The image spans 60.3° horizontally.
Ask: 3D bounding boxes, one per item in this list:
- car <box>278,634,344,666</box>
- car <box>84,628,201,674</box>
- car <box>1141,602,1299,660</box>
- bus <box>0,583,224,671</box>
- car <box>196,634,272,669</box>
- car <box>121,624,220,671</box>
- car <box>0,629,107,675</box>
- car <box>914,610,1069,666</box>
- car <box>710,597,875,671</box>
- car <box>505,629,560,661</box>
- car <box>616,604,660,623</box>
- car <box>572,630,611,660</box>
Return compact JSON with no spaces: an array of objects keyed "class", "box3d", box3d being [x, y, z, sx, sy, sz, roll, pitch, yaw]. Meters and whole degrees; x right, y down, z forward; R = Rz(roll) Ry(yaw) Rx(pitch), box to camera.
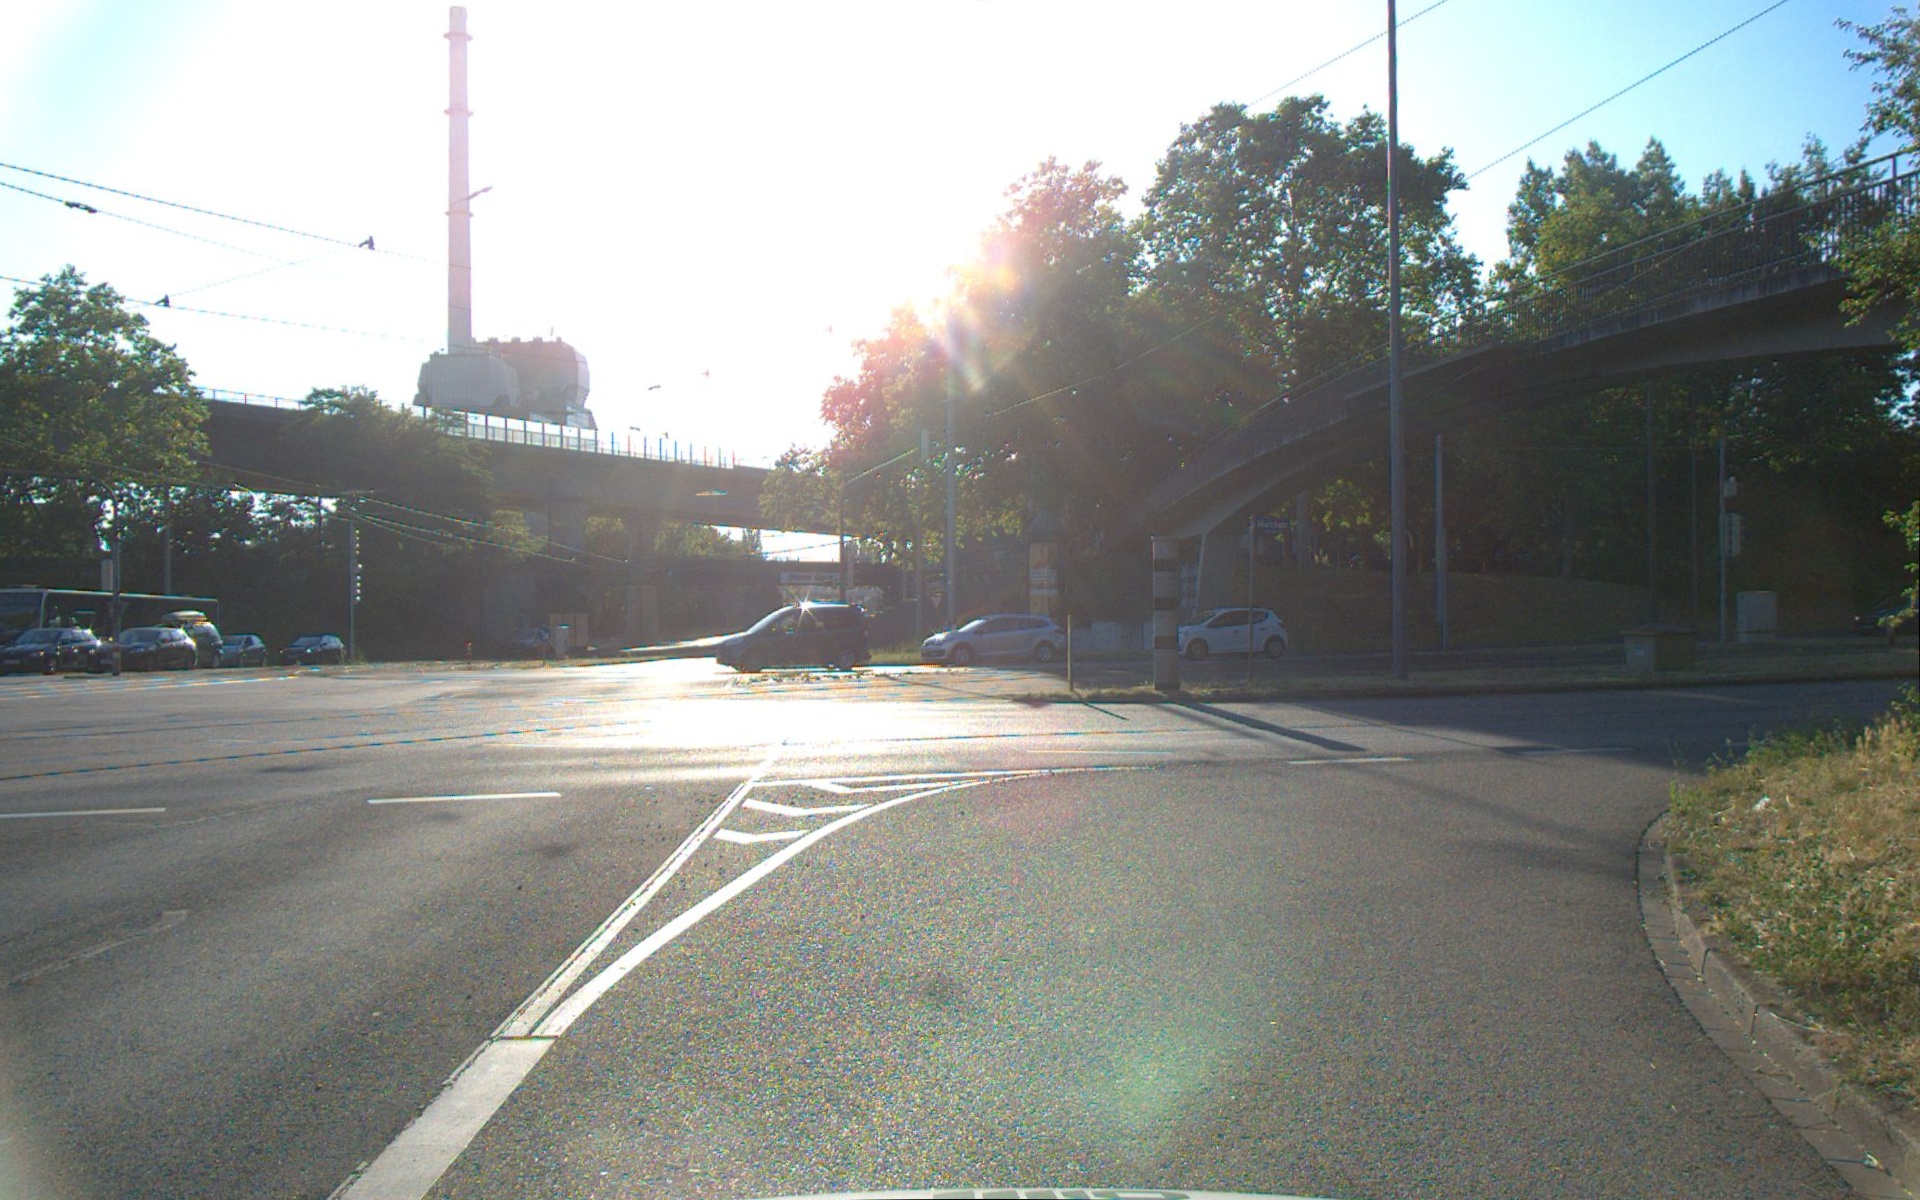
[{"class":"car","box3d":[-31.547,2.426,80.463,1.665,1.467,3.999,0,-1,-1]},{"class":"car","box3d":[-25.911,1.586,52.565,1.676,1.378,4.094,0,-1,-1]},{"class":"car","box3d":[7.606,0.884,48.364,4.230,1.637,1.846,0,-1,-20]},{"class":"bus","box3d":[-32.356,1.005,62.974,2.764,3.006,12.853,0,-1,1]},{"class":"car","box3d":[-32.296,2.266,73.676,1.665,1.467,3.999,0,-1,-1]},{"class":"car","box3d":[-29.033,1.724,60.949,1.676,1.681,4.094,0,-1,-1]},{"class":"car","box3d":[-28.678,1.602,52.194,1.572,1.378,3.997,0,-1,-3]},{"class":"car","box3d":[0.936,1.112,49.593,4.292,1.637,1.846,0,-1,-20]},{"class":"car","box3d":[-4.461,0.890,43.956,4.072,1.900,1.846,0,-1,-21]},{"class":"car","box3d":[-28.896,2.998,111.847,1.951,2.049,5.428,-1,0,4]},{"class":"car","box3d":[-30.879,1.310,158.708,1.957,1.802,3.991,0,-1,31]},{"class":"car","box3d":[-21.707,2.634,97.555,1.677,1.681,4.090,0,-1,-5]}]
